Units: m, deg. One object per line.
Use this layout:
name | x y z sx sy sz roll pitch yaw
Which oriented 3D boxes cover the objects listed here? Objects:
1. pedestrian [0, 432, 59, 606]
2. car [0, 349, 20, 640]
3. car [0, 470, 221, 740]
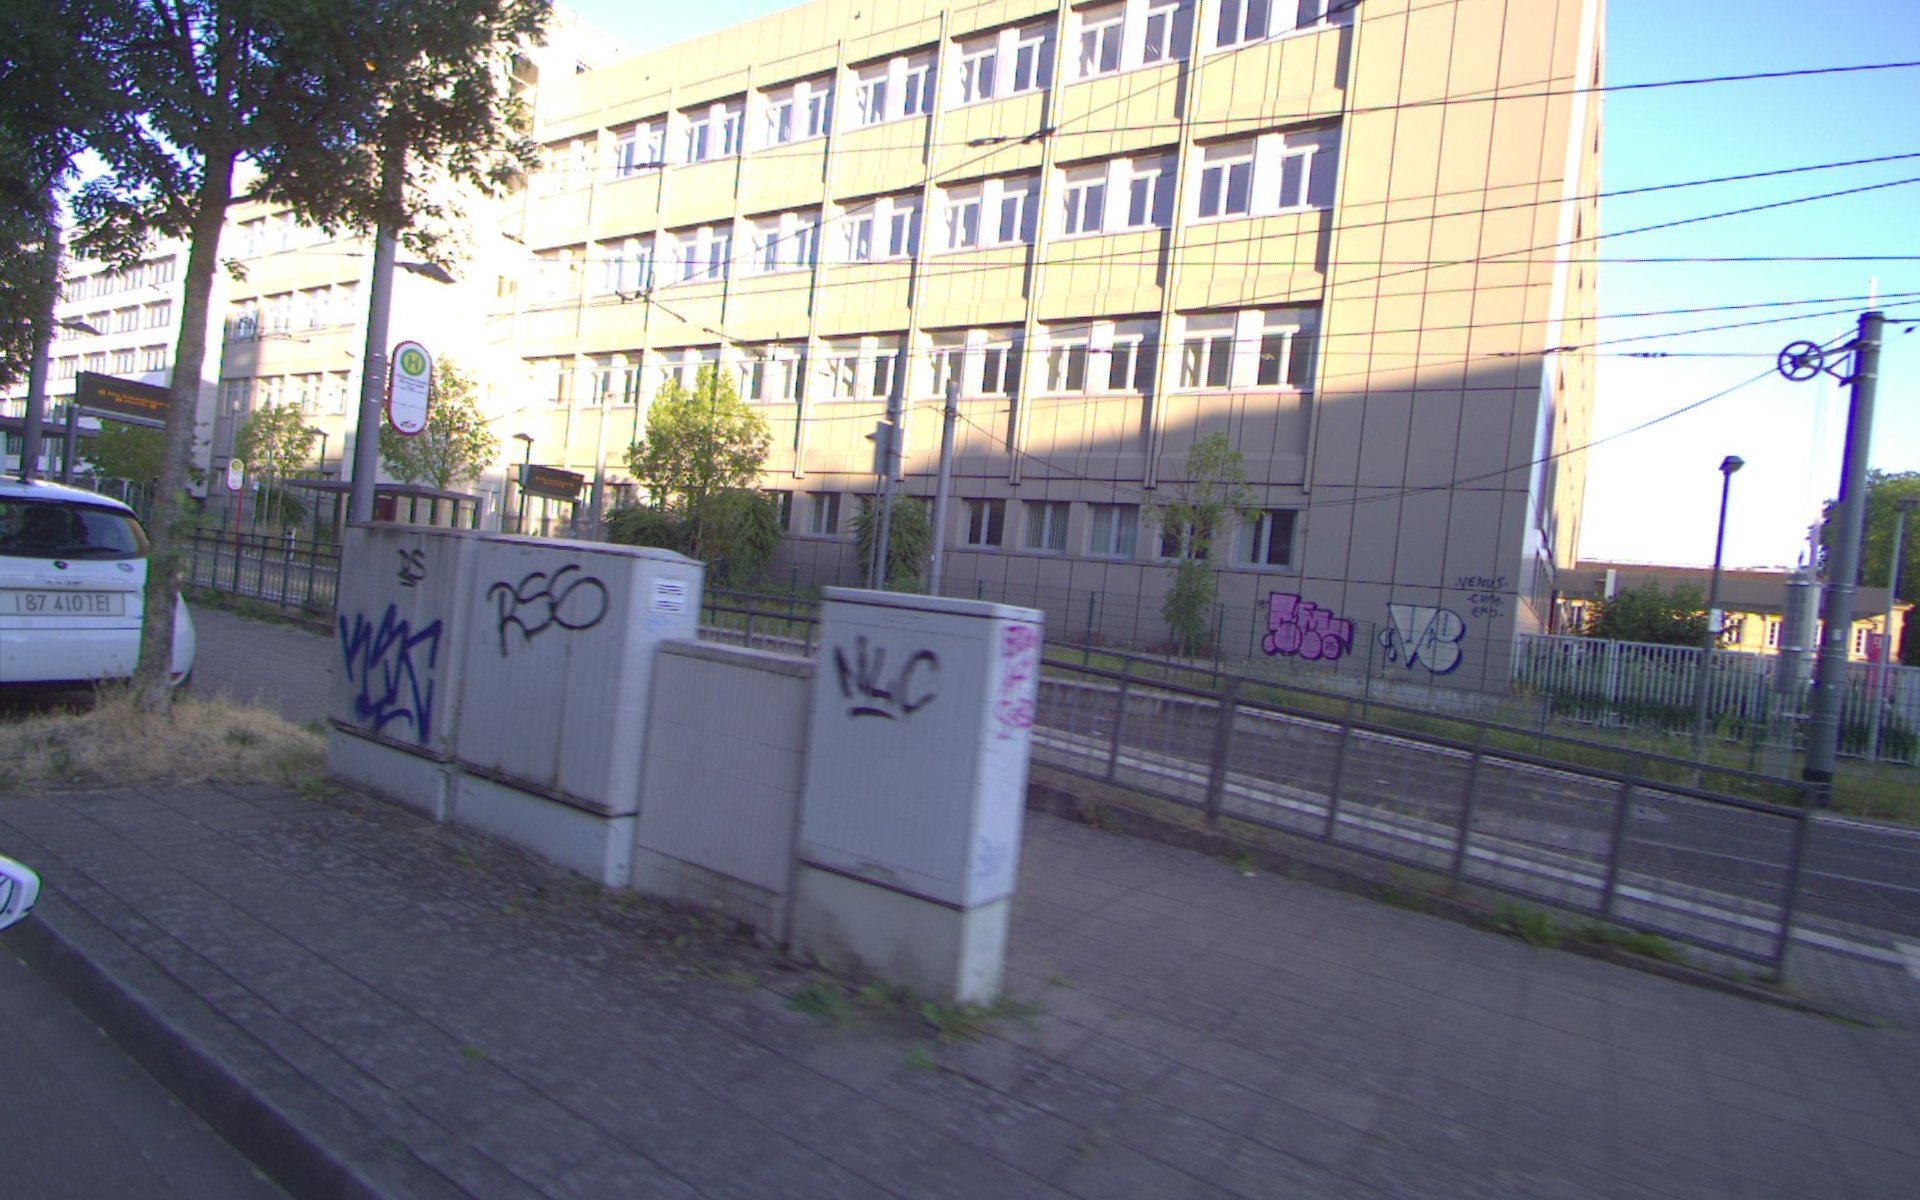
pedestrian | -11.700 -0.987 12.072 0.795 2.039 0.977 6 0 -12
car | -11.651 -1.223 9.952 5.344 2.694 2.050 6 3 31
car | -7.223 -0.139 7.178 3.946 1.605 1.747 6 3 31
